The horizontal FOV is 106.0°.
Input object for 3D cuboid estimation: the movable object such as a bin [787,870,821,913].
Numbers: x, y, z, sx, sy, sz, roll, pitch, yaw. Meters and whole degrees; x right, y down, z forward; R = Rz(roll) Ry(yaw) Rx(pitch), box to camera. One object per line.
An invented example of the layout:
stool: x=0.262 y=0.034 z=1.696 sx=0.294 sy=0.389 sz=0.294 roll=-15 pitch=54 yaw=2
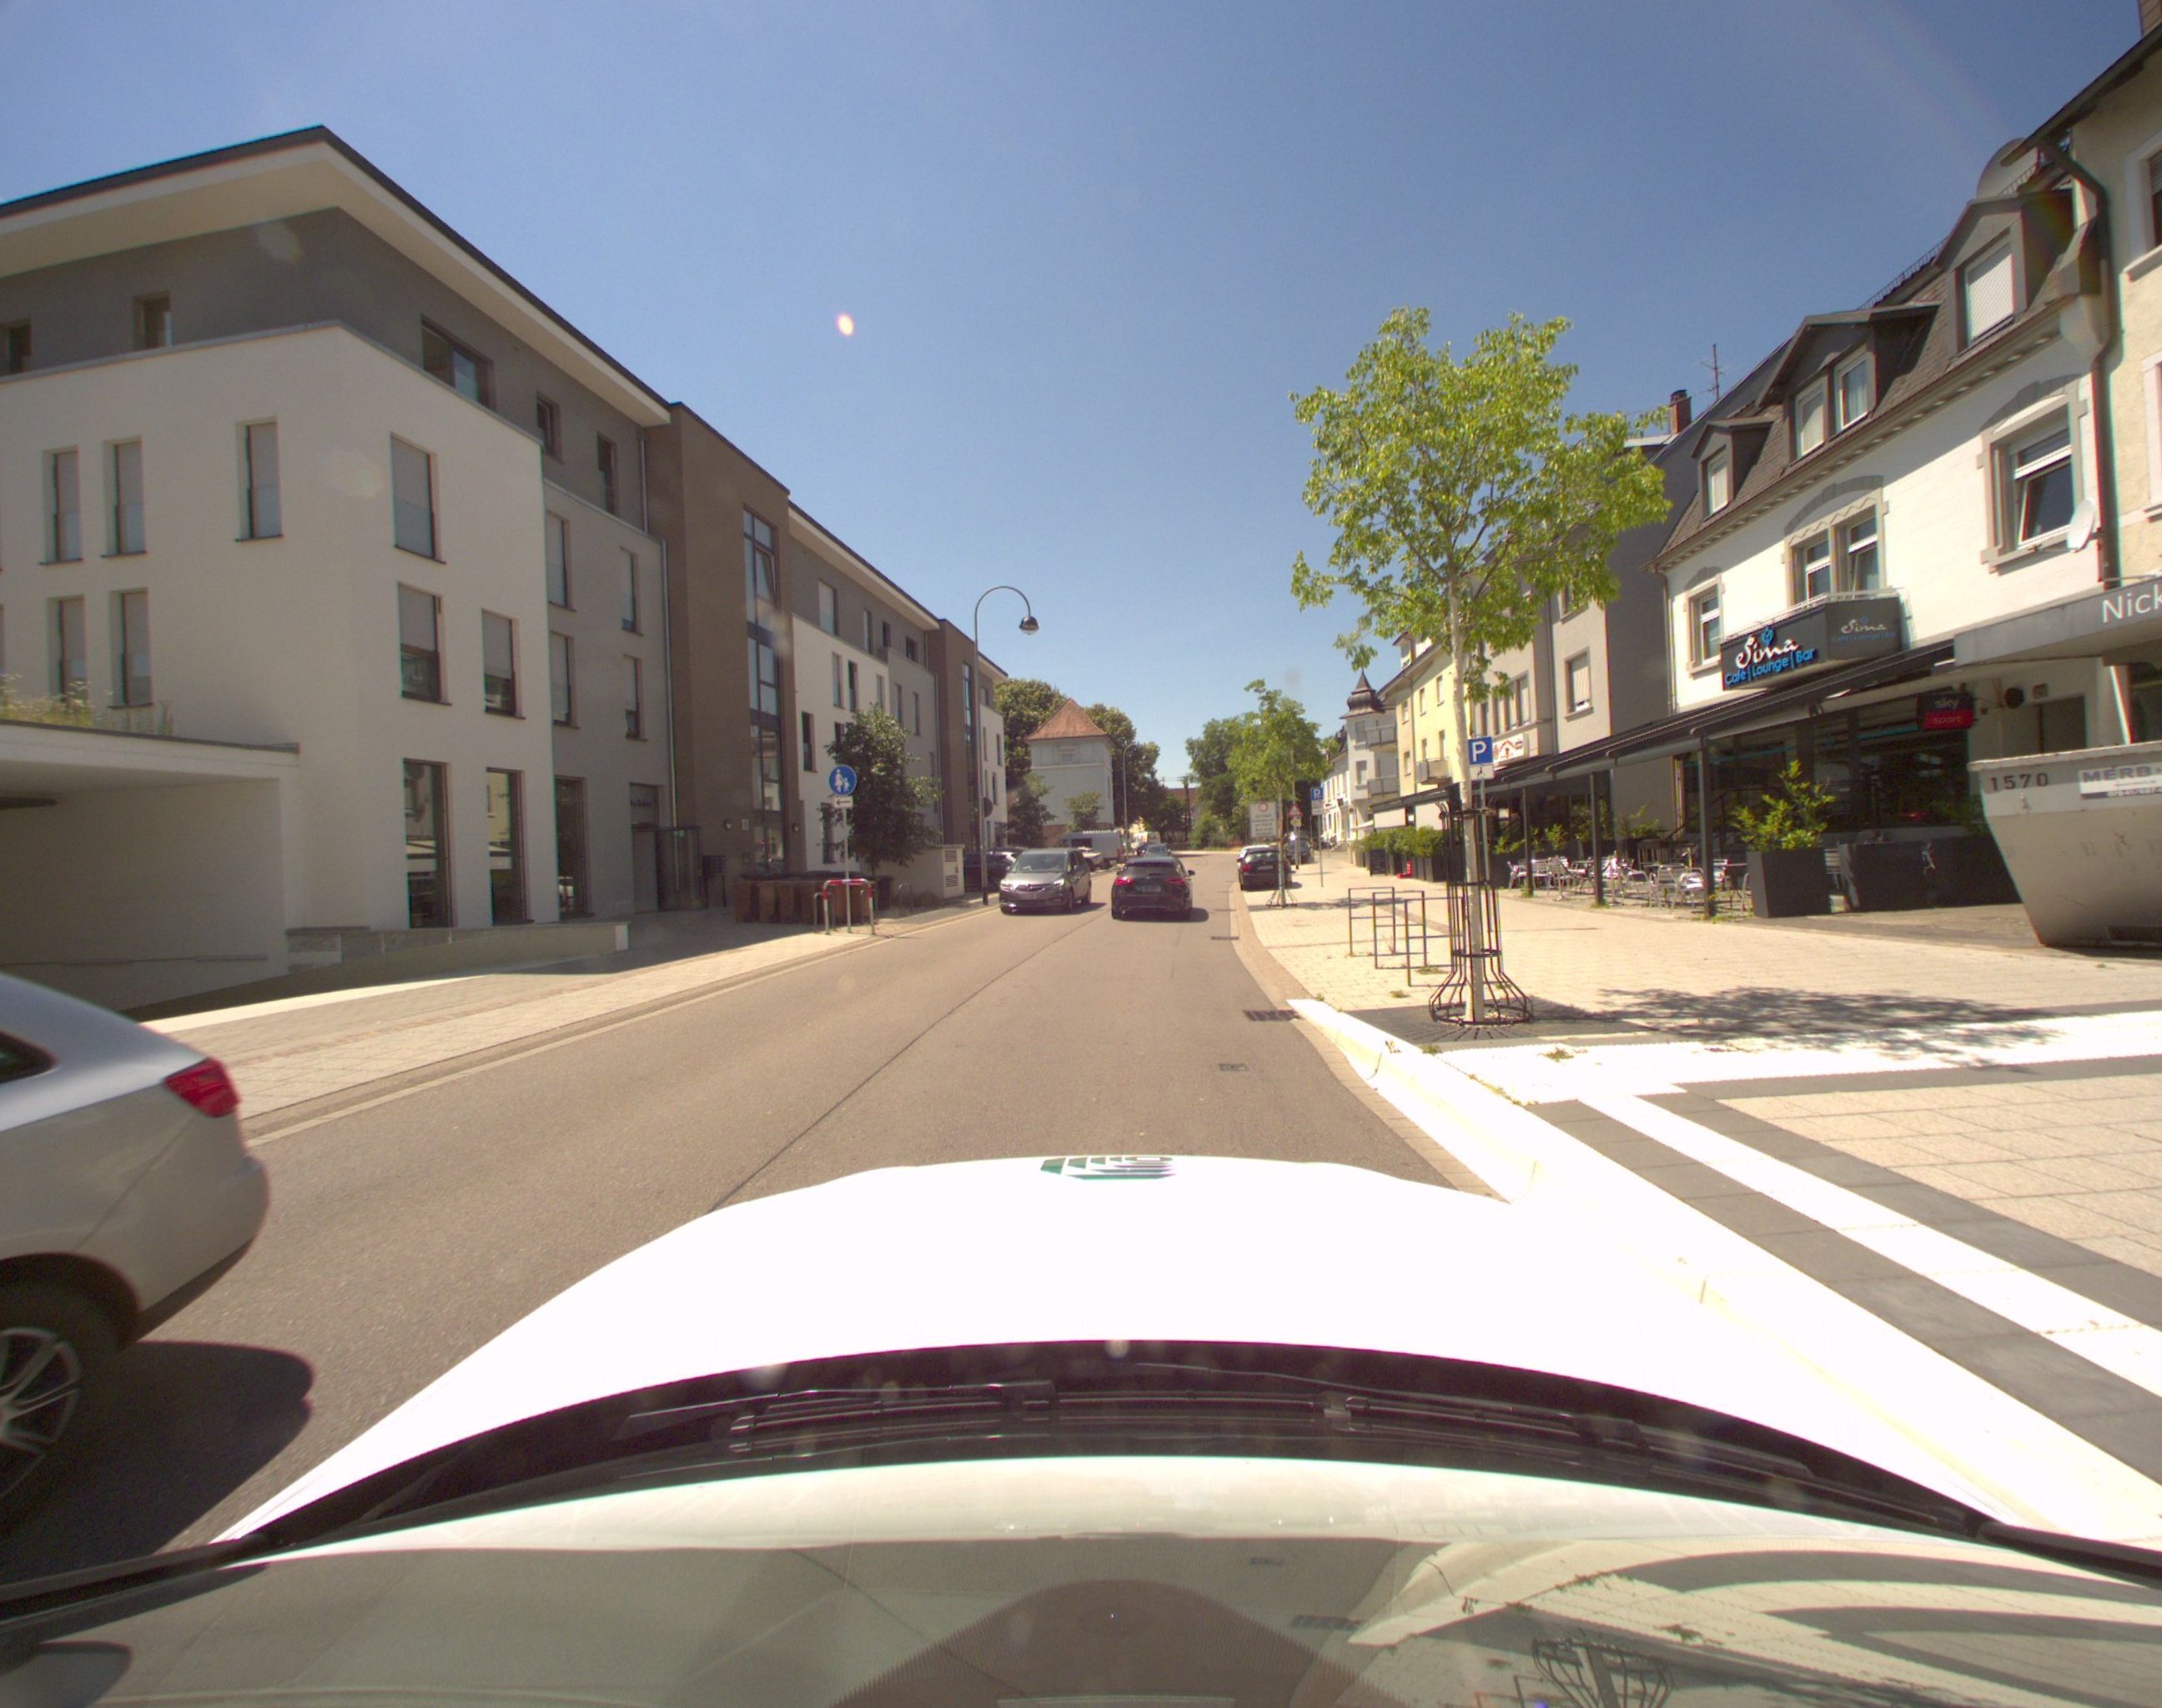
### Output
movable object such as a bin: x=-7.042 y=0.953 z=20.743 sx=0.675 sy=1.039 sz=0.603 roll=-2 pitch=0 yaw=-8

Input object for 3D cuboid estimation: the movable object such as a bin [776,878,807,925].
movable object such as a bin: x=-6.415 y=1.051 z=18.056 sx=0.422 sy=0.998 sz=0.525 roll=-2 pitch=0 yaw=9

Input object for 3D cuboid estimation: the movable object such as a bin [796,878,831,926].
movable object such as a bin: x=-5.891 y=1.047 z=17.923 sx=0.480 sy=0.998 sz=0.589 roll=-2 pitch=0 yaw=9

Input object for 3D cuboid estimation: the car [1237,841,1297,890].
car: x=6.511 y=0.379 z=28.858 sx=1.821 sy=1.482 sz=4.108 roll=-4 pitch=-1 yaw=11

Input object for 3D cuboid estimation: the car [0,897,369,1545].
car: x=-3.296 y=0.854 z=0.818 sx=1.660 sy=1.396 sz=3.850 roll=0 pitch=0 yaw=2

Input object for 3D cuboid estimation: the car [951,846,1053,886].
car: x=-3.442 y=0.506 z=35.792 sx=4.005 sy=1.651 sz=2.007 roll=-1 pitch=0 yaw=12

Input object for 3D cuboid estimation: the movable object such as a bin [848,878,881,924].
movable object such as a bin: x=-4.891 y=1.049 z=18.433 sx=0.480 sy=0.998 sz=0.589 roll=-2 pitch=0 yaw=8

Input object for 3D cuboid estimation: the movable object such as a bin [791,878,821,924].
movable object such as a bin: x=-6.277 y=1.063 z=18.610 sx=0.401 sy=0.998 sz=0.557 roll=-2 pitch=0 yaw=8

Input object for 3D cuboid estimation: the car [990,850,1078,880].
car: x=-2.348 y=0.533 z=41.114 sx=4.005 sy=1.430 sz=2.007 roll=-1 pitch=0 yaw=12

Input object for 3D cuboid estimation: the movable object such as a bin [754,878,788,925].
movable object such as a bin: x=-6.914 y=1.056 z=18.161 sx=0.480 sy=0.998 sz=0.527 roll=-2 pitch=0 yaw=8

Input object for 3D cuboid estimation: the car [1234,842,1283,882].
car: x=7.631 y=0.312 z=34.784 sx=1.724 sy=1.486 sz=4.071 roll=-5 pitch=-1 yaw=15

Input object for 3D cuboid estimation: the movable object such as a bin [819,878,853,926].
movable object such as a bin: x=-5.366 y=1.043 z=17.884 sx=0.480 sy=0.998 sz=0.589 roll=-2 pitch=0 yaw=7

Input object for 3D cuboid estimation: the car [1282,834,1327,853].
car: x=21.717 y=-1.019 z=79.323 sx=4.052 sy=1.716 sz=1.860 roll=-1 pitch=0 yaw=8

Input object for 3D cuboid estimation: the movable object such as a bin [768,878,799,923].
movable object such as a bin: x=-6.844 y=1.061 z=18.746 sx=0.401 sy=0.998 sz=0.557 roll=-2 pitch=0 yaw=8

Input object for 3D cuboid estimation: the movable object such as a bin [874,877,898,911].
movable object such as a bin: x=-5.201 y=1.073 z=21.774 sx=0.553 sy=0.867 sz=0.480 roll=-2 pitch=0 yaw=-8

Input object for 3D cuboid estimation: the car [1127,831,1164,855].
car: x=7.814 y=-1.300 z=99.318 sx=2.139 sy=2.630 sz=5.231 roll=-1 pitch=-1 yaw=-27

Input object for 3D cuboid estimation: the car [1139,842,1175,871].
car: x=5.083 y=0.182 z=54.112 sx=1.798 sy=1.701 sz=4.090 roll=-4 pitch=-1 yaw=13

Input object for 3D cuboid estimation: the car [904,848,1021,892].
car: x=-4.468 y=0.606 z=31.031 sx=3.963 sy=1.515 sz=2.006 roll=-1 pitch=2 yaw=9

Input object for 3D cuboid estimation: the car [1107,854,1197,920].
car: x=1.836 y=0.754 z=19.841 sx=1.816 sy=1.442 sz=4.011 roll=-1 pitch=-1 yaw=10

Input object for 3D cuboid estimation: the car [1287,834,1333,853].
car: x=21.720 y=-1.004 z=77.342 sx=4.052 sy=1.716 sz=1.860 roll=-1 pitch=0 yaw=8

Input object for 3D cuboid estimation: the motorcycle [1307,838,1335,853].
motorcycle: x=21.673 y=-0.807 z=73.569 sx=2.363 sy=1.275 sz=0.858 roll=-1 pitch=1 yaw=9

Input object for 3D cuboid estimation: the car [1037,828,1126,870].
car: x=0.072 y=-0.321 z=55.509 sx=5.731 sy=2.732 sz=2.298 roll=-1 pitch=0 yaw=10

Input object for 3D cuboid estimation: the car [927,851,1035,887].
car: x=-4.051 y=0.603 z=33.268 sx=3.962 sy=1.421 sz=1.915 roll=-1 pitch=0 yaw=10

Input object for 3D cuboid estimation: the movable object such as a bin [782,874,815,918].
movable object such as a bin: x=-6.932 y=1.024 z=20.016 sx=0.619 sy=1.039 sz=0.581 roll=-2 pitch=0 yaw=-8

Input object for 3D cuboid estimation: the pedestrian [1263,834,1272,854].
pedestrian: x=17.206 y=-0.960 z=75.112 sx=0.740 sy=1.796 sz=0.847 roll=-2 pitch=2 yaw=17

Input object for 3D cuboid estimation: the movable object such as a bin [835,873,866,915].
movable object such as a bin: x=-5.849 y=1.021 z=20.698 sx=0.551 sy=1.020 sz=0.561 roll=-2 pitch=0 yaw=5

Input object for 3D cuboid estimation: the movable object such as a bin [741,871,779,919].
movable object such as a bin: x=-7.828 y=0.994 z=19.895 sx=0.691 sy=1.095 sz=0.646 roll=-2 pitch=0 yaw=-8

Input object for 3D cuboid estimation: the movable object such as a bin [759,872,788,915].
movable object such as a bin: x=-7.859 y=1.000 z=20.827 sx=0.553 sy=1.039 sz=0.480 roll=-2 pitch=0 yaw=-8

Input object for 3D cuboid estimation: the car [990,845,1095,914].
car: x=-0.919 y=0.625 z=21.959 sx=1.930 sy=1.658 sz=4.247 roll=-1 pitch=0 yaw=9

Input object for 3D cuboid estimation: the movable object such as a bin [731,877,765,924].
movable object such as a bin: x=-7.535 y=1.048 z=18.430 sx=0.481 sy=0.998 sz=0.588 roll=-2 pitch=0 yaw=2

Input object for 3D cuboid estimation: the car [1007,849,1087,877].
car: x=-1.846 y=0.490 z=45.456 sx=4.179 sy=1.437 sz=1.889 roll=-1 pitch=0 yaw=5

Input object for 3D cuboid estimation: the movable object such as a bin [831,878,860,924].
movable object such as a bin: x=-5.358 y=1.051 z=18.510 sx=0.401 sy=0.998 sz=0.557 roll=-2 pitch=0 yaw=8

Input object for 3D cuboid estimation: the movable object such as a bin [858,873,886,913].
movable object such as a bin: x=-5.440 y=1.012 z=21.202 sx=0.550 sy=0.998 sz=0.428 roll=-2 pitch=0 yaw=11

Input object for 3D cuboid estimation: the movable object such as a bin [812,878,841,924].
movable object such as a bin: x=-5.782 y=1.058 z=18.523 sx=0.401 sy=0.998 sz=0.557 roll=-2 pitch=0 yaw=8

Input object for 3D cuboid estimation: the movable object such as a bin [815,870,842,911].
movable object such as a bin: x=-6.648 y=0.953 z=21.463 sx=0.575 sy=1.039 sz=0.549 roll=-2 pitch=0 yaw=-8

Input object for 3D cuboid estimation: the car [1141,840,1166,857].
car: x=7.470 y=-0.608 z=84.579 sx=1.890 sy=1.553 sz=4.793 roll=-2 pitch=1 yaw=-3

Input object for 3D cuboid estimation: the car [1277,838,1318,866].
car: x=13.796 y=-0.166 z=51.711 sx=1.855 sy=1.491 sz=3.884 roll=-4 pitch=1 yaw=23

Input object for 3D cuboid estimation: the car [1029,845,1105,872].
car: x=-0.826 y=0.279 z=50.778 sx=4.427 sy=1.591 sz=2.005 roll=-1 pitch=0 yaw=9

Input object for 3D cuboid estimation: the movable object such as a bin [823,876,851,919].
movable object such as a bin: x=-5.973 y=1.067 z=19.955 sx=0.553 sy=0.998 sz=0.404 roll=-3 pitch=0 yaw=-4
